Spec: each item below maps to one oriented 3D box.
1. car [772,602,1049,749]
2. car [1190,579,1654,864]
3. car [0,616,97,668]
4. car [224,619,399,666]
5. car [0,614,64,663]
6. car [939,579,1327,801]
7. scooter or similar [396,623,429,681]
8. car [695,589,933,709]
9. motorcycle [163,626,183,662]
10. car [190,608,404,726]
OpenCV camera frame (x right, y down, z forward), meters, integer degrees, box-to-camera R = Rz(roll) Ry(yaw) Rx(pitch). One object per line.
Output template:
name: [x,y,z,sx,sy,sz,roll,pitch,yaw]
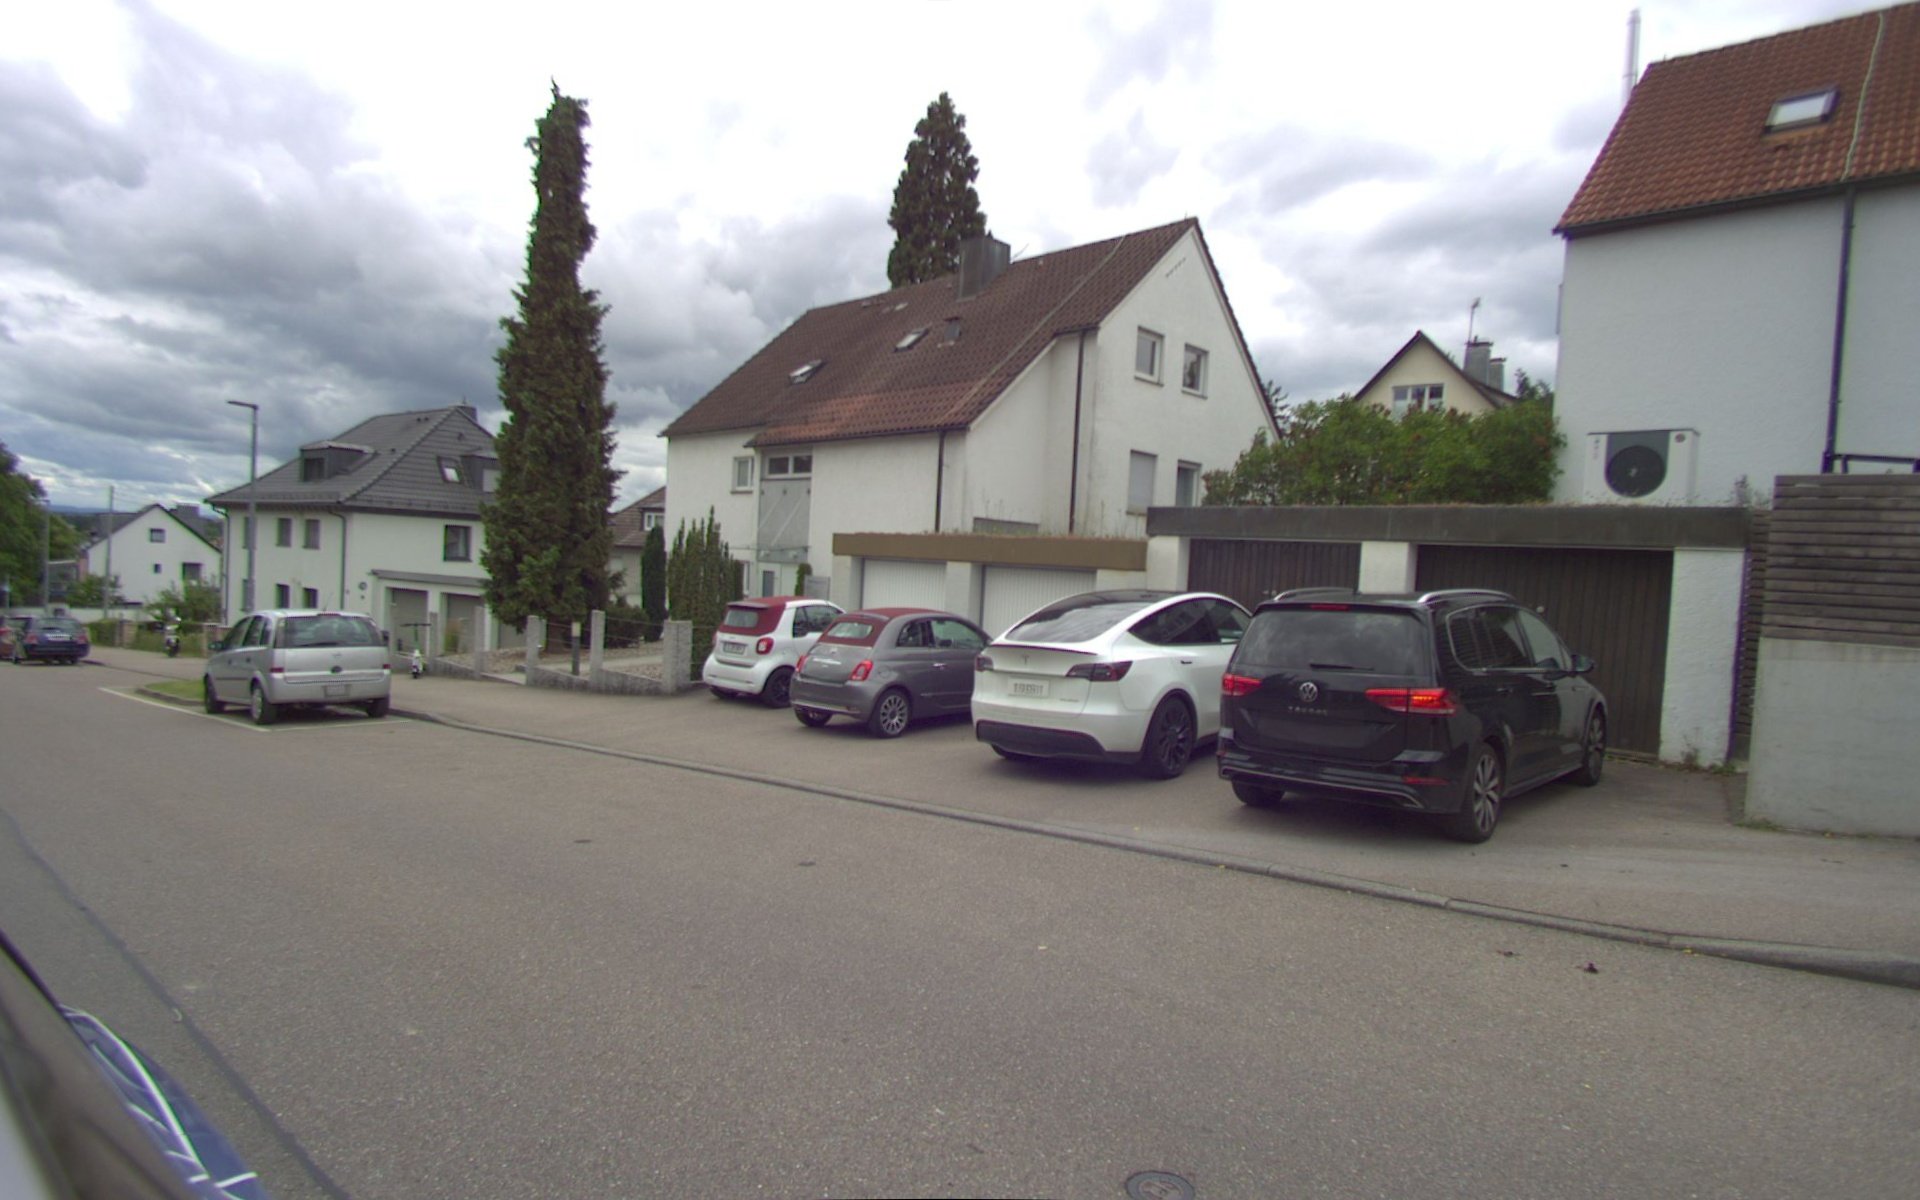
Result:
car: [-0.548,0.850,13.152,1.692,1.523,3.393,1,2,42]
car: [3.795,0.717,7.925,4.246,1.624,1.855,0,-1,-44]
car: [-28.557,1.270,31.686,3.506,1.548,1.858,-1,-1,42]
car: [-20.361,1.287,31.935,1.900,1.378,4.248,-1,-1,36]
car: [-32.609,1.288,35.080,3.870,1.597,1.858,-1,-1,42]
car: [1.959,0.685,10.258,1.909,1.641,4.367,-1,2,40]
scooter or similar: [-11.640,1.094,21.505,0.468,1.157,1.458,-2,0,-33]
car: [-2.199,0.663,15.831,1.657,1.590,3.393,1,2,42]
motorcycle: [-27.349,1.511,35.174,0.424,1.169,1.865,2,-1,-41]
car: [-10.171,0.934,15.422,3.853,1.575,1.742,-1,-2,41]
